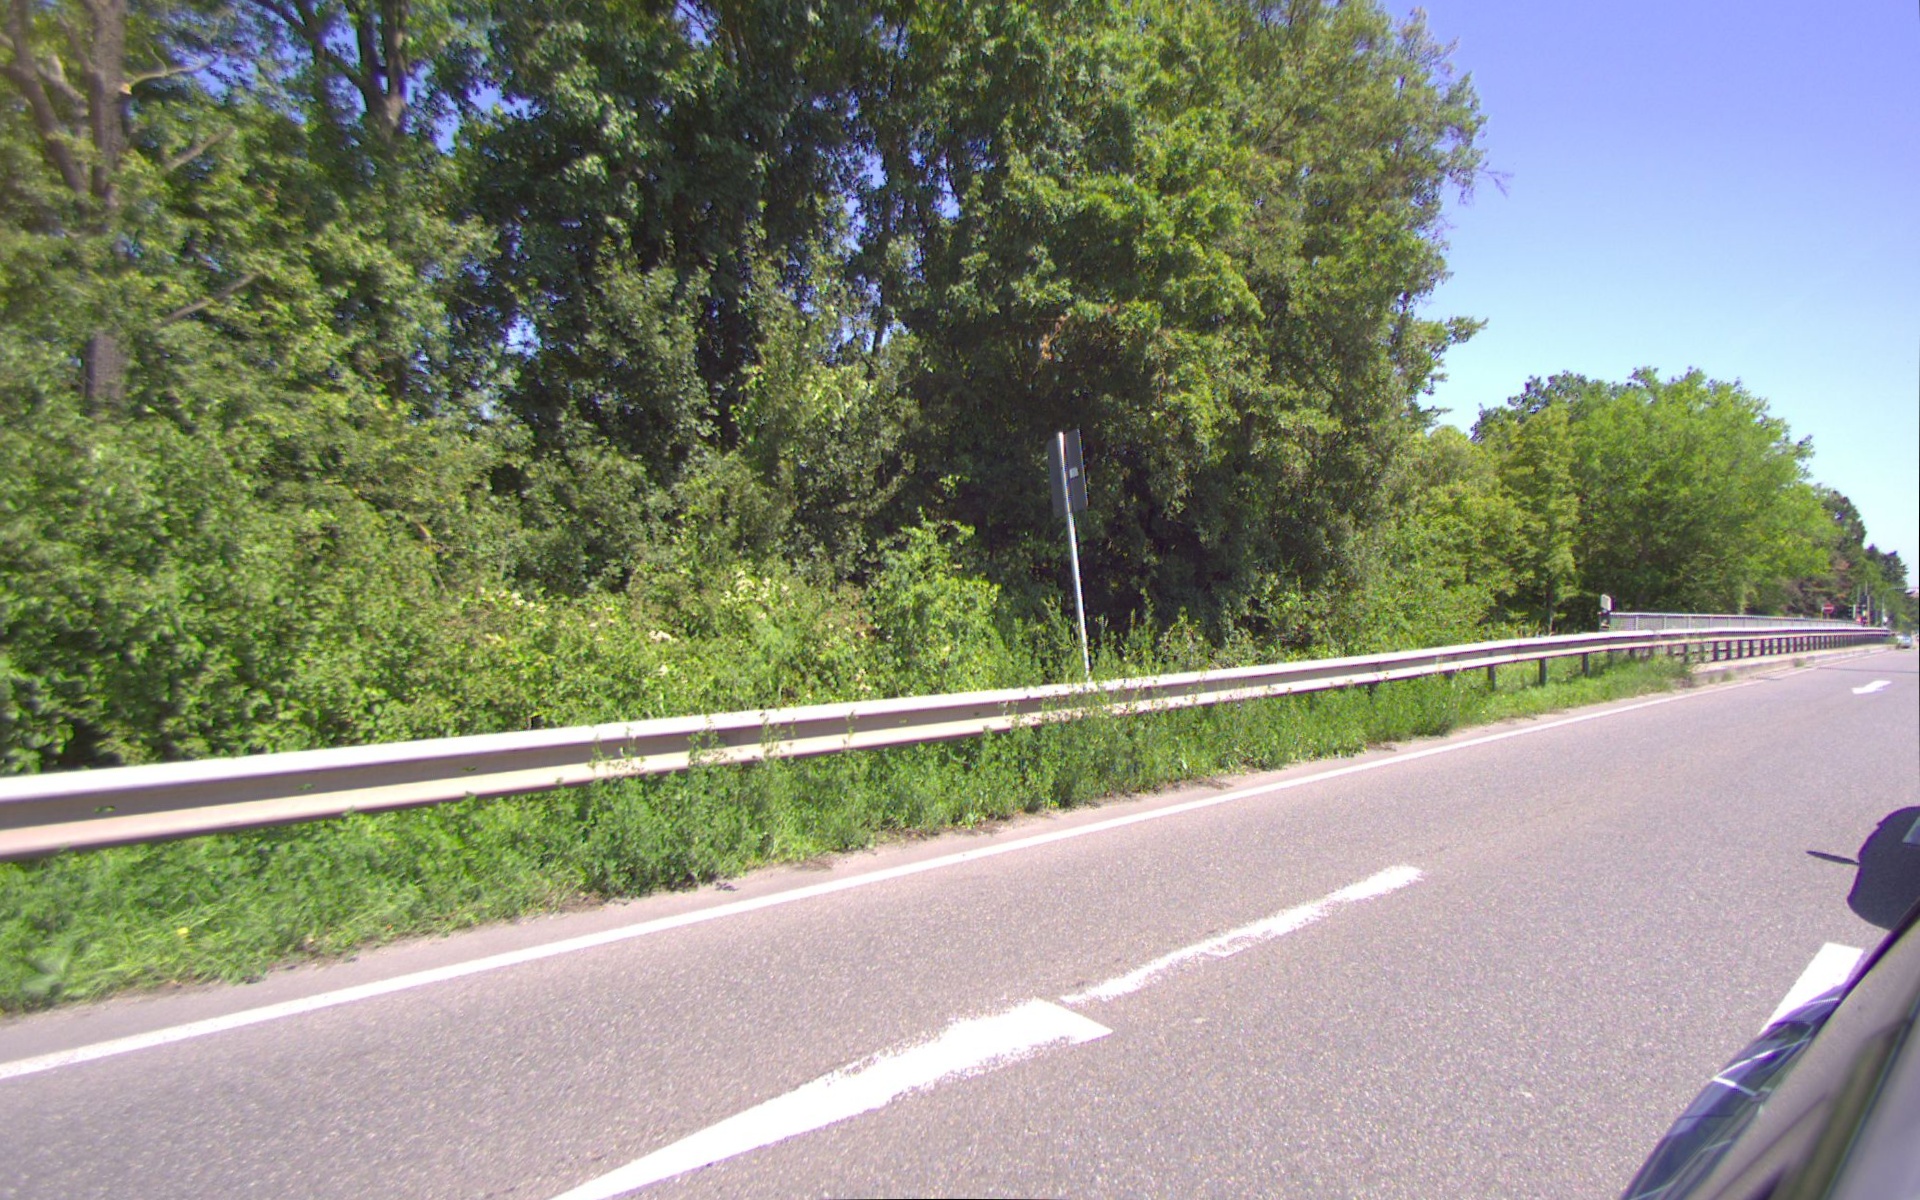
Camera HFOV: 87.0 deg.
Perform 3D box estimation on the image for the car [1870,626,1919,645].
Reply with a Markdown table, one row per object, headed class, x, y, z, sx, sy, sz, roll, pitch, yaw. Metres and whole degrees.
| class | x | y | z | sx | sy | sz | roll | pitch | yaw |
| --- | --- | --- | --- | --- | --- | --- | --- | --- | --- |
| car | 79.835 | 3.009 | 85.895 | 1.766 | 1.475 | 3.709 | 1 | 1 | -3 |
